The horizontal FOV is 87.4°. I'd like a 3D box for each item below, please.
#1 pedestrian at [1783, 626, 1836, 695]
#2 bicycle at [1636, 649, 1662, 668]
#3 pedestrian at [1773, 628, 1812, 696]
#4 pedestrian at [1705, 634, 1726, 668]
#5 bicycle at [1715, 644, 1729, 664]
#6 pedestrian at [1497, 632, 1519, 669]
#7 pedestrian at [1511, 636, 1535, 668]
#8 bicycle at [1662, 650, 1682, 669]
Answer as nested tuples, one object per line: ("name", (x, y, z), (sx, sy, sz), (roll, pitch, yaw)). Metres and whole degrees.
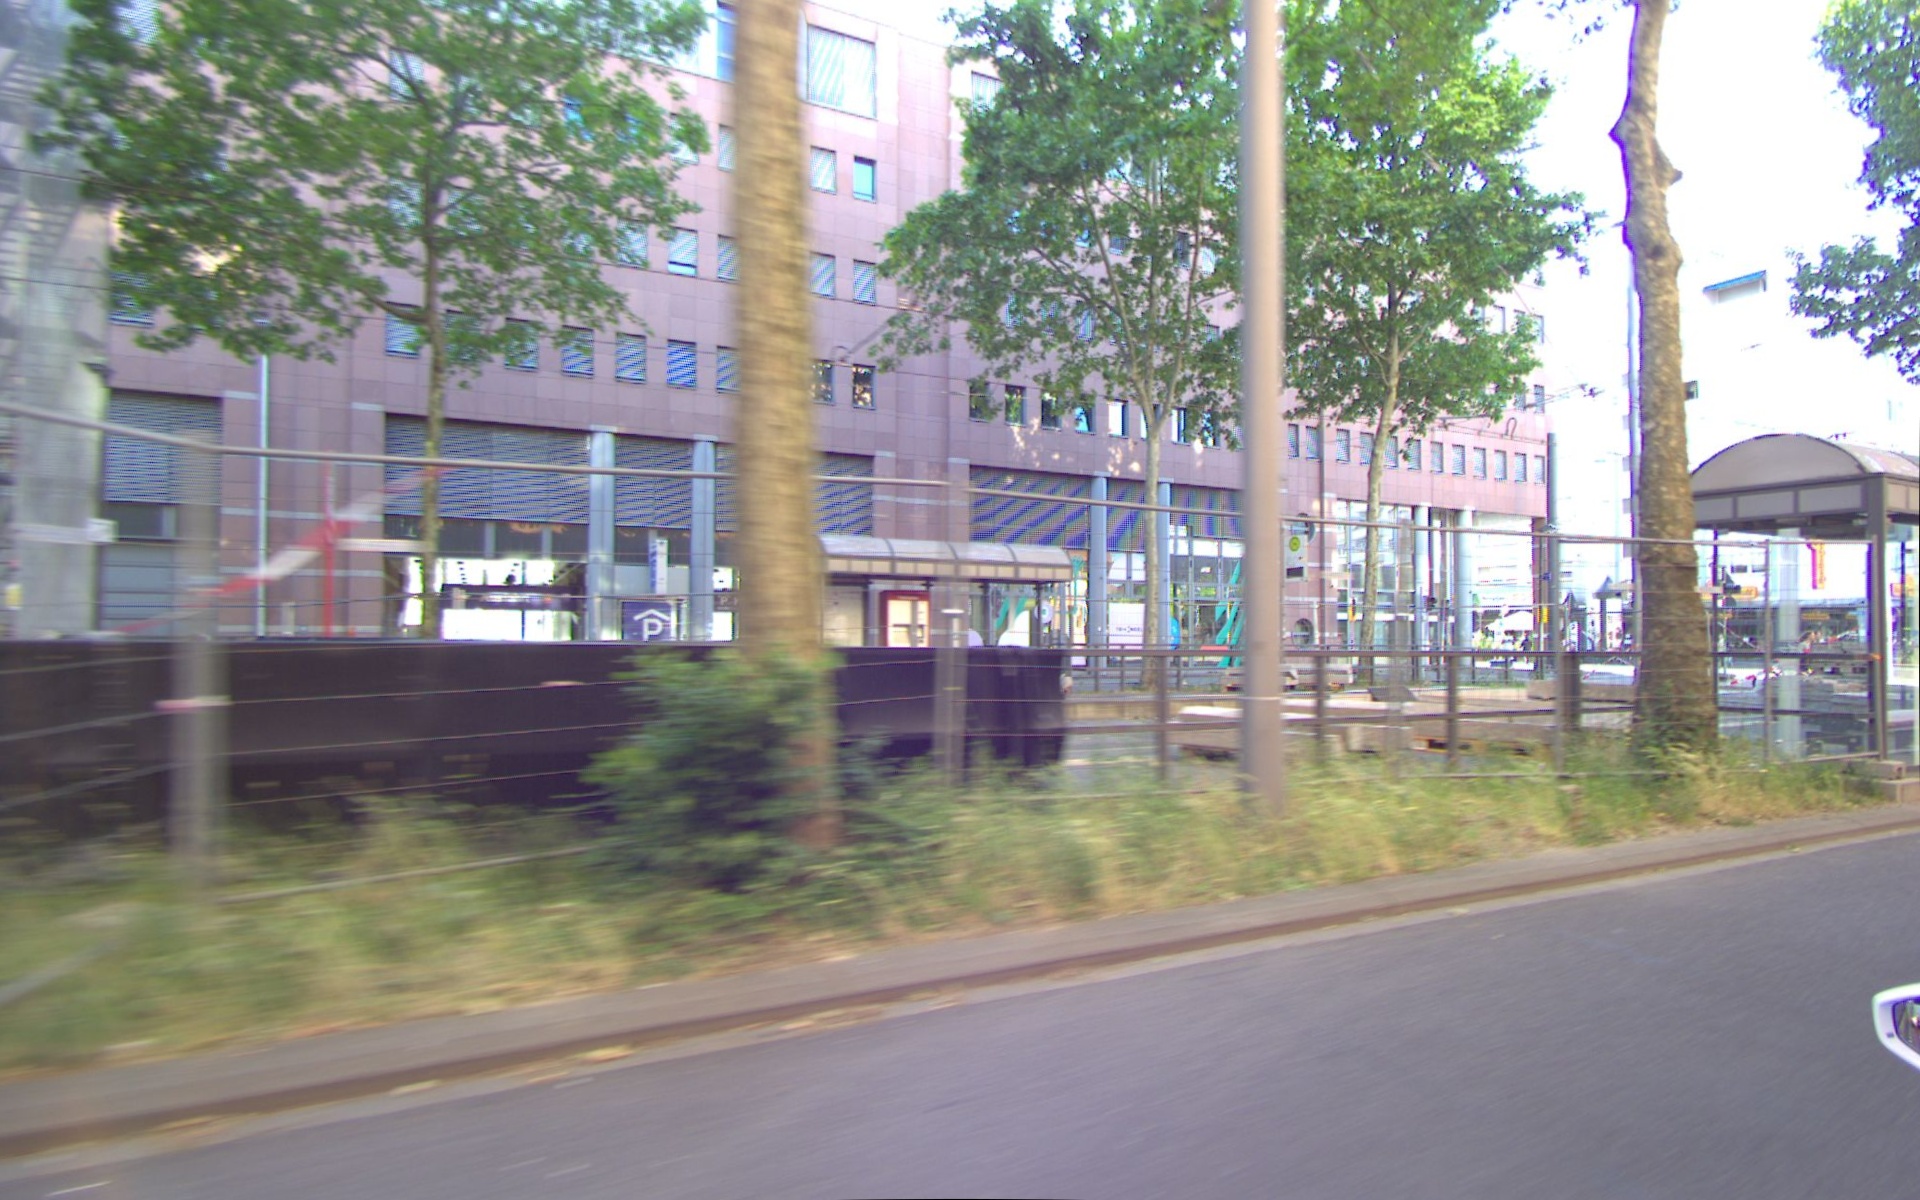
("pedestrian", (21.879, 1.548, 25.878), (0.838, 1.757, 0.774), (1, -2, -29))
("bicycle", (40.729, 3.464, 59.381), (1.986, 1.067, 0.591), (1, -2, -35))
("pedestrian", (21.140, 1.564, 25.495), (0.523, 1.702, 0.565), (1, -2, -25))
("pedestrian", (41.609, 2.801, 55.293), (0.774, 1.815, 0.626), (1, -2, -25))
("bicycle", (43.153, 3.048, 56.900), (0.587, 1.067, 1.998), (-1, -2, 38))
("pedestrian", (24.850, 2.283, 45.571), (0.708, 1.639, 0.642), (0, -2, 13))
("pedestrian", (30.041, 2.746, 53.610), (0.866, 1.687, 0.908), (0, -2, 9))
("bicycle", (41.624, 3.480, 58.720), (1.993, 1.067, 0.589), (2, -2, -45))
